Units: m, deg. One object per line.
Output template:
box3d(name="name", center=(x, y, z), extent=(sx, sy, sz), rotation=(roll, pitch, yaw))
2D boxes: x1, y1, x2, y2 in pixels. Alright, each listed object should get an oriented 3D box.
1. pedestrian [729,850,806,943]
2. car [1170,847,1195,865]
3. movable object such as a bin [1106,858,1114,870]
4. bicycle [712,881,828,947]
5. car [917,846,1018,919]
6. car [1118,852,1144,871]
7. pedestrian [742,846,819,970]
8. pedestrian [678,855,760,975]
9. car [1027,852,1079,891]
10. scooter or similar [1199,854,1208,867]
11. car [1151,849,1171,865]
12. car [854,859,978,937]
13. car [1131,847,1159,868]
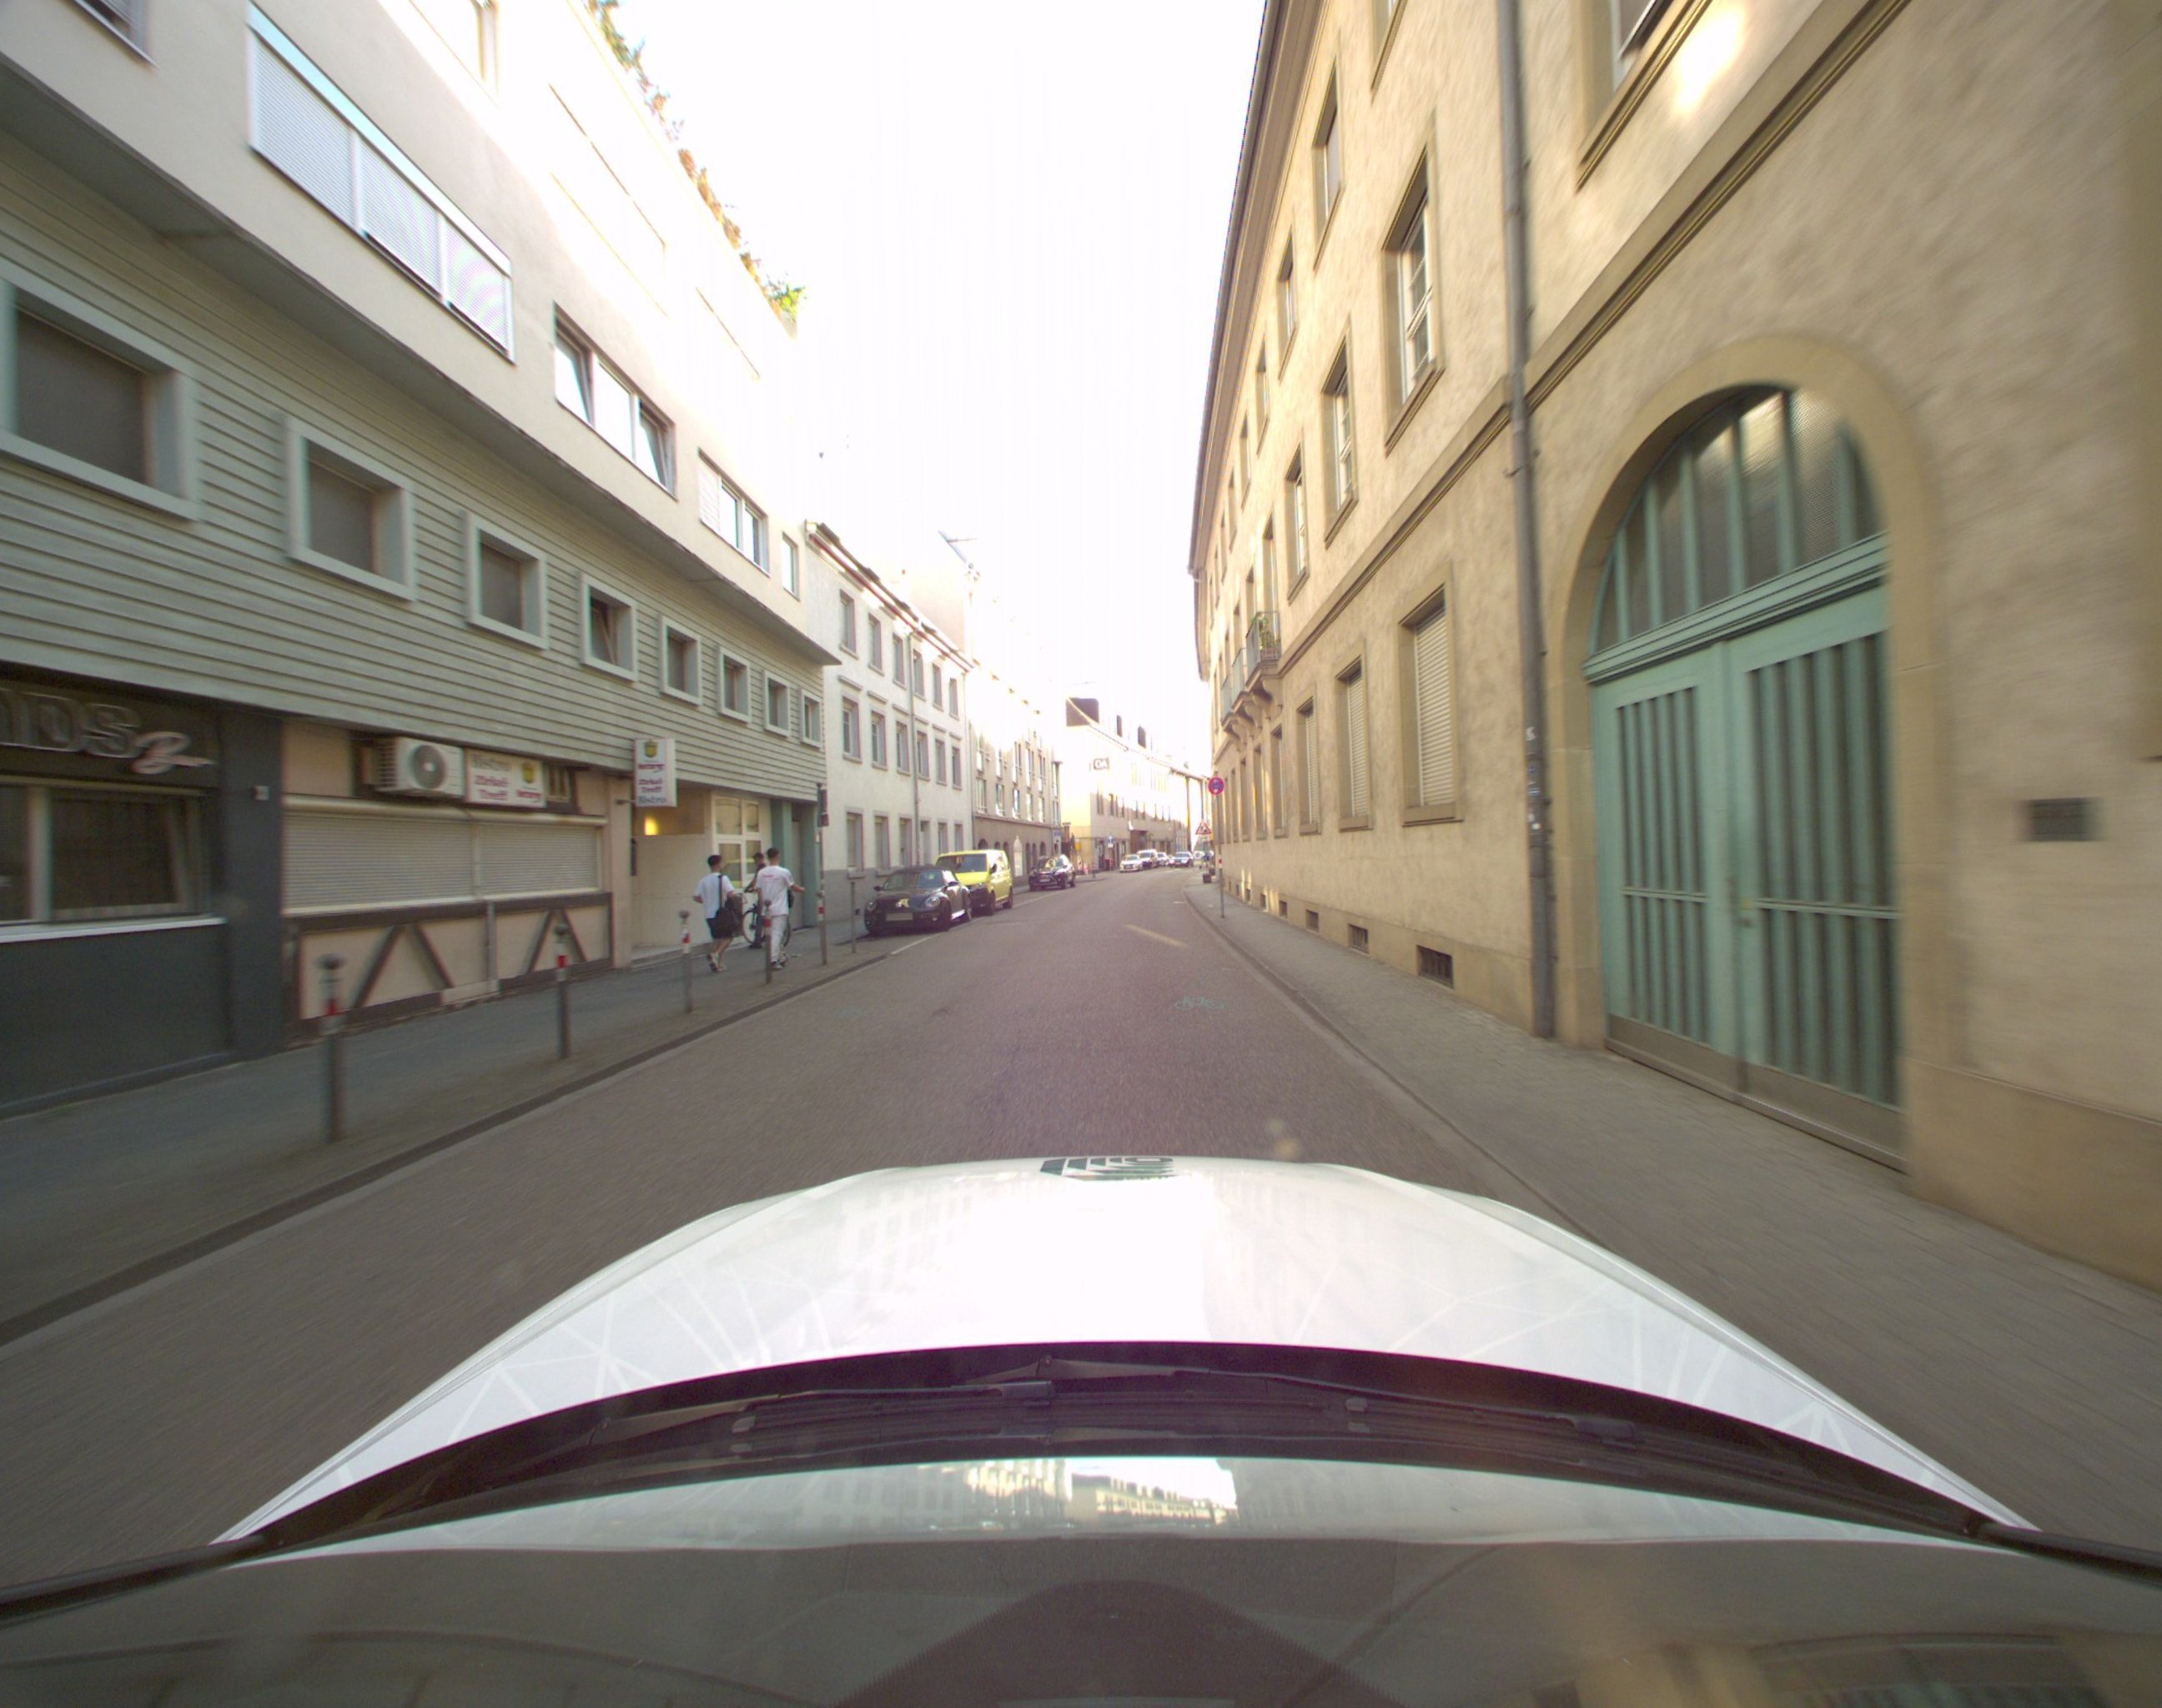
box3d(name="pedestrian", center=(-6.033, 0.804, 15.689), extent=(1.068, 1.728, 0.807), rotation=(-2, 0, 25))
box3d(name="car", center=(9.539, 0.214, 76.767), extent=(1.709, 1.578, 4.190), rotation=(-2, 0, 0))
box3d(name="movable object such as a bin", center=(2.616, 0.876, 72.824), extent=(0.605, 1.060, 0.715), rotation=(0, 0, 7))
box3d(name="bicycle", center=(-5.991, 1.144, 15.673), extent=(2.109, 1.163, 0.828), rotation=(-2, 0, 25))
box3d(name="car", center=(-3.301, 0.770, 24.749), extent=(1.871, 1.866, 4.871), rotation=(-5, 0, 5))
box3d(name="car", center=(4.417, 0.607, 71.344), extent=(1.660, 1.507, 3.805), rotation=(-4, 0, 11))
box3d(name="pedestrian", center=(-4.422, 0.771, 12.039), extent=(0.695, 1.734, 0.830), rotation=(-3, 0, 3))
box3d(name="pedestrian", center=(-5.282, 0.862, 11.932), extent=(0.670, 1.669, 0.895), rotation=(-3, 0, 3))
box3d(name="car", center=(-1.352, 0.833, 41.107), extent=(1.730, 1.711, 4.201), rotation=(-5, 0, 9))
box3d(name="scooter or similar", center=(10.769, 0.559, 71.531), extent=(0.765, 1.136, 0.270), rotation=(0, 0, 12))
box3d(name="car", center=(8.166, 0.329, 82.963), extent=(1.261, 1.507, 3.417), rotation=(-4, 0, 17))
box3d(name="car", center=(-3.757, 0.941, 19.307), extent=(1.811, 1.486, 4.080), rotation=(-5, 0, 3))
box3d(name="car", center=(6.123, 0.339, 77.019), extent=(1.658, 1.818, 4.571), rotation=(-4, 0, 16))
